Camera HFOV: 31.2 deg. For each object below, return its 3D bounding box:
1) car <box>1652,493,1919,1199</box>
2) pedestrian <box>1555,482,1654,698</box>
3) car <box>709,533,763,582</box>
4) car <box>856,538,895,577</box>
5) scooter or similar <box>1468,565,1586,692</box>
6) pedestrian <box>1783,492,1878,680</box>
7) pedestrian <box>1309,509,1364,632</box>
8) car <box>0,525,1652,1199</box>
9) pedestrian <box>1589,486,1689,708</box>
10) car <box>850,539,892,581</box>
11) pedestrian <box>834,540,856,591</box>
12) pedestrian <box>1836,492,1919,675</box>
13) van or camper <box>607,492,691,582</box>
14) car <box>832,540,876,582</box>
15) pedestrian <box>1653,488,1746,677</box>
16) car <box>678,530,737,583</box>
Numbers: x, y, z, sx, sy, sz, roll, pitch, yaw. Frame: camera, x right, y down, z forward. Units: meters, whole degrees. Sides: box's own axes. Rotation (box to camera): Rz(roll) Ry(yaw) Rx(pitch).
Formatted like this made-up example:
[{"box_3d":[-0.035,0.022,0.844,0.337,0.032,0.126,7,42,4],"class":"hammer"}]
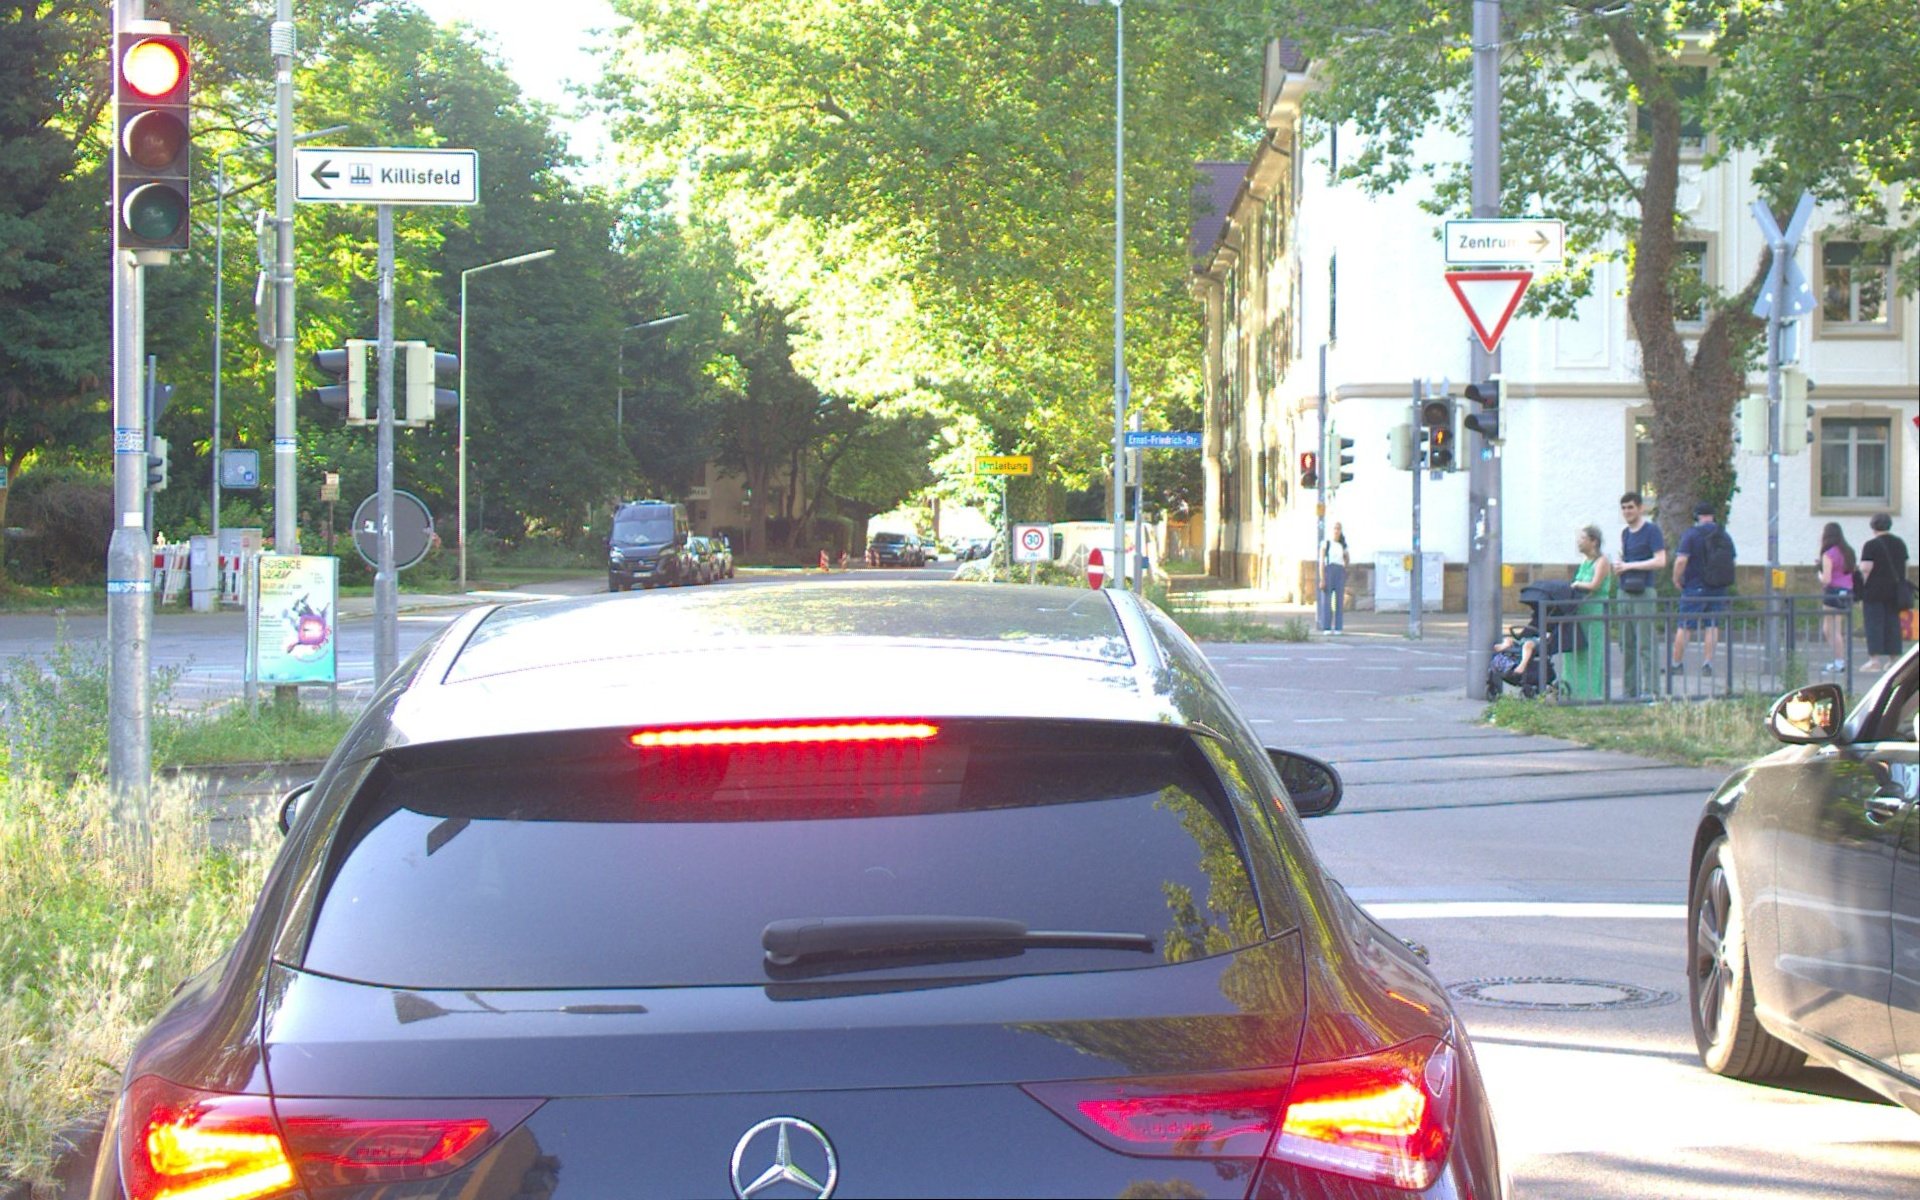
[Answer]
[{"box_3d":[2.880,0.576,7.317,1.889,1.485,4.382,1,3,0],"class":"car"},{"box_3d":[5.786,-0.094,30.891,0.682,1.911,0.707,1,0,-4],"class":"pedestrian"},{"box_3d":[-8.221,-1.563,126.404,1.733,1.759,3.971,1,1,-1],"class":"car"},{"box_3d":[-3.893,-1.967,158.466,1.733,1.759,4.019,1,1,-1],"class":"car"},{"box_3d":[4.995,0.246,30.328,0.828,1.101,0.809,1,0,-6],"class":"scooter or similar"},{"box_3d":[9.025,-0.148,35.669,0.705,1.911,0.839,1,0,-4],"class":"pedestrian"},{"box_3d":[5.919,-0.468,54.071,0.705,1.911,0.839,1,0,-4],"class":"pedestrian"},{"box_3d":[-0.261,0.681,5.360,1.889,1.445,4.001,1,3,1],"class":"car"},{"box_3d":[5.944,-0.032,30.119,0.682,1.911,0.707,1,0,-2],"class":"pedestrian"},{"box_3d":[-3.871,-1.744,150.383,1.733,1.759,4.019,1,1,-1],"class":"car"},{"box_3d":[-4.360,-1.321,130.027,0.705,1.911,0.839,1,0,-10],"class":"pedestrian"},{"box_3d":[9.835,-0.177,36.669,0.705,1.911,0.839,1,0,-4],"class":"pedestrian"},{"box_3d":[-8.989,-1.802,99.738,1.993,2.532,4.651,1,1,0],"class":"van or camper"},{"box_3d":[-4.475,-1.644,145.563,1.733,1.759,4.019,1,1,-1],"class":"car"},{"box_3d":[7.591,-0.180,35.332,0.705,1.911,0.839,1,0,-4],"class":"pedestrian"},{"box_3d":[-8.611,-1.480,117.569,1.733,1.759,4.085,1,1,-1],"class":"car"}]
